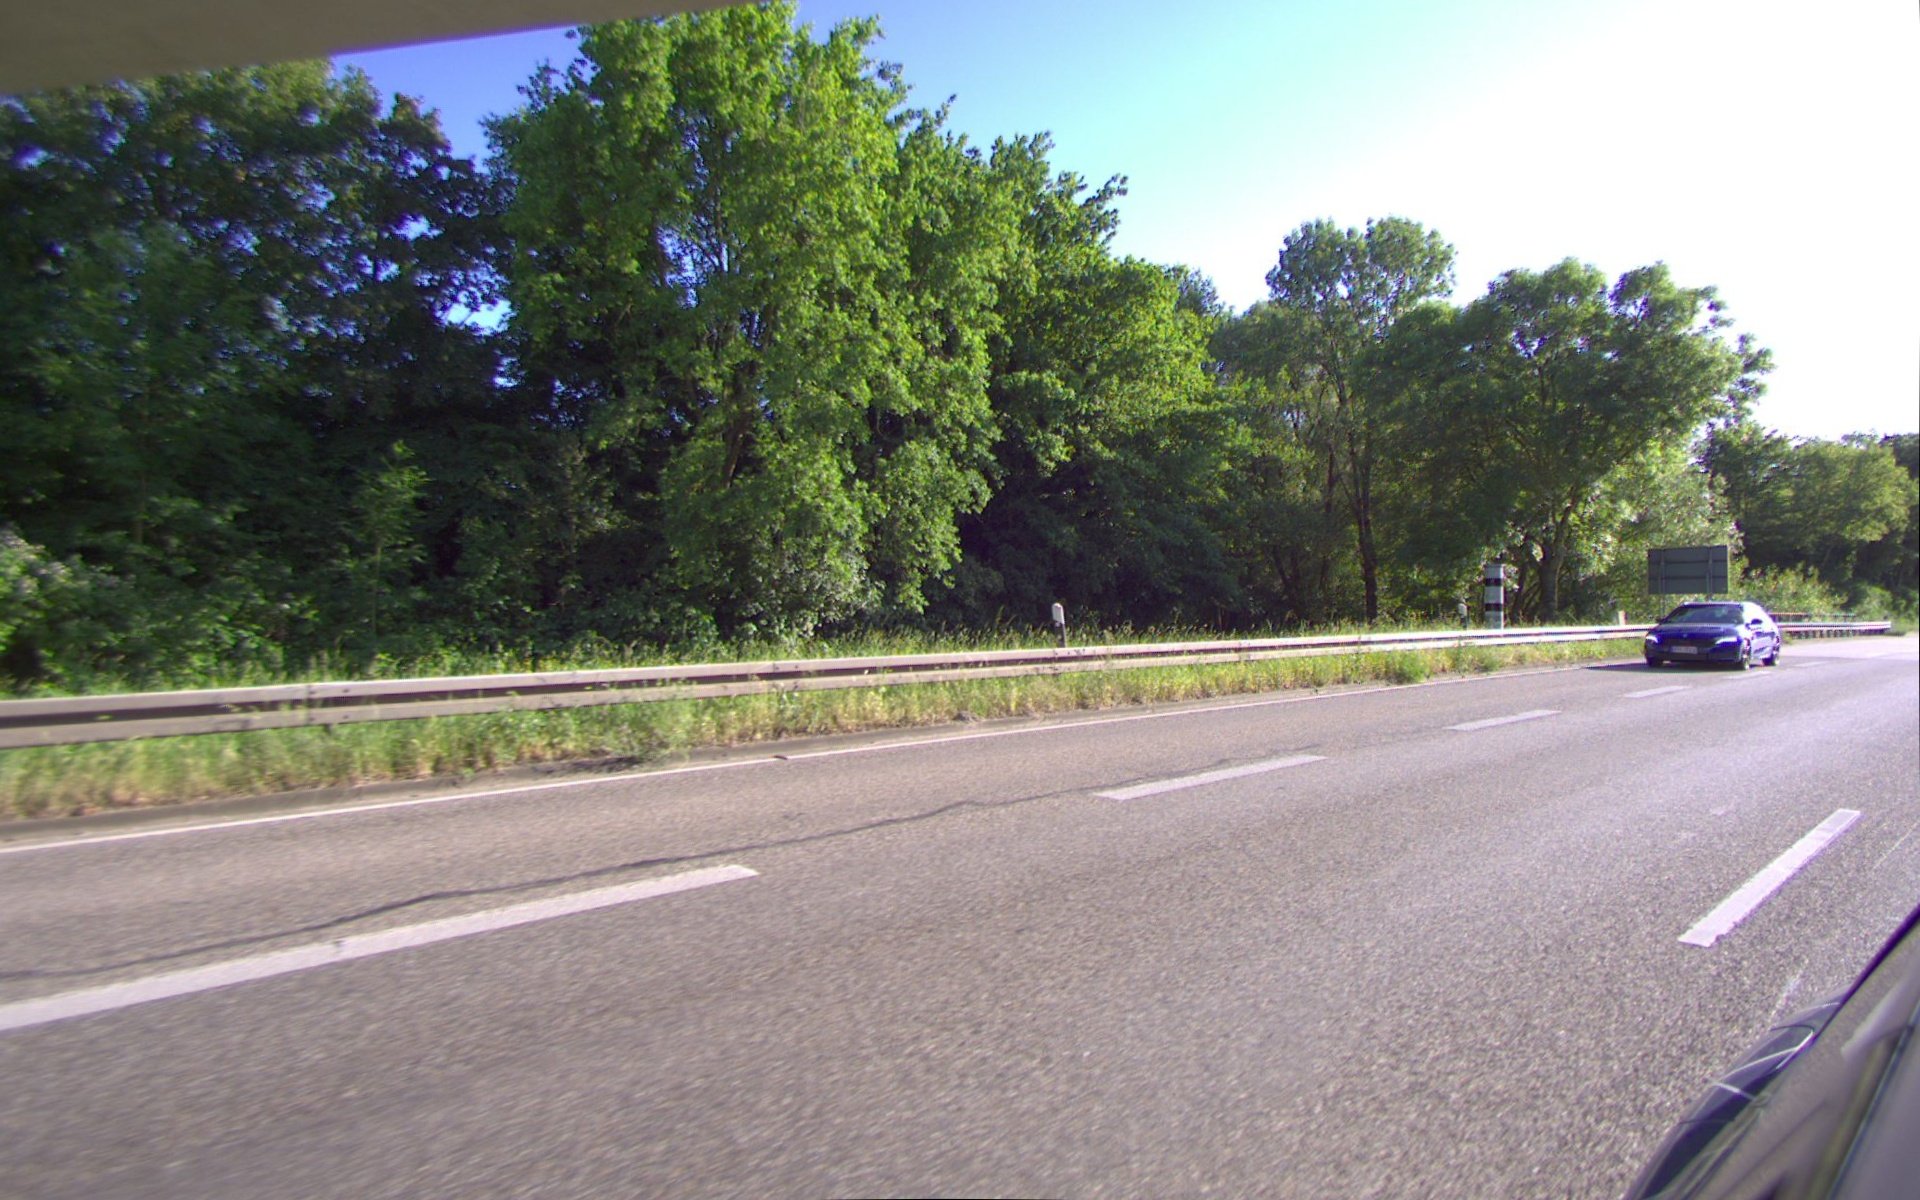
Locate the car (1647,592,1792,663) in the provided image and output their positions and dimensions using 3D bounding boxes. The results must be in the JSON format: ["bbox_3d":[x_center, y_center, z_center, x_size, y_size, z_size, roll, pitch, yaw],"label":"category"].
[{"bbox_3d":[16.809,0.544,22.350,3.984,1.427,1.762,0,0,-41],"label":"car"}]
